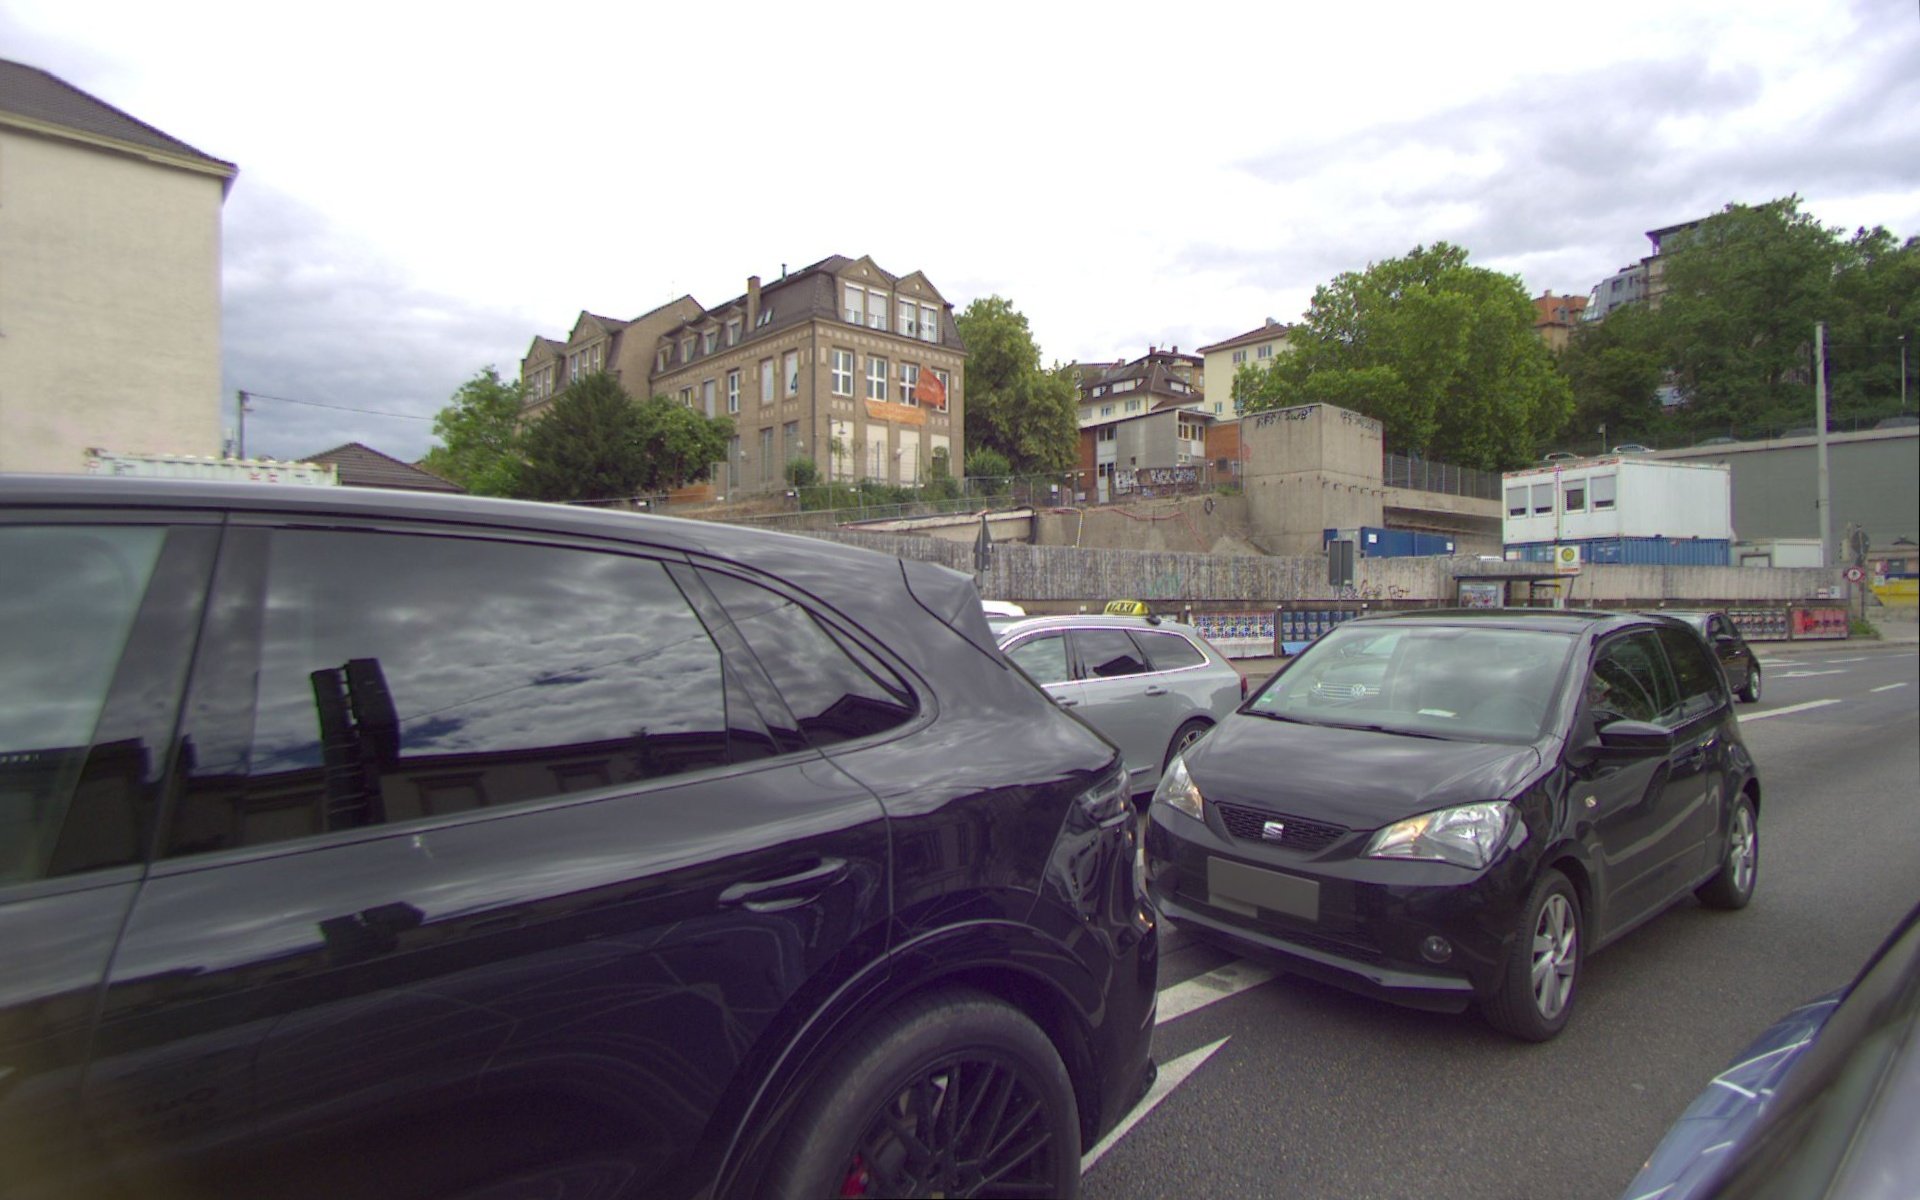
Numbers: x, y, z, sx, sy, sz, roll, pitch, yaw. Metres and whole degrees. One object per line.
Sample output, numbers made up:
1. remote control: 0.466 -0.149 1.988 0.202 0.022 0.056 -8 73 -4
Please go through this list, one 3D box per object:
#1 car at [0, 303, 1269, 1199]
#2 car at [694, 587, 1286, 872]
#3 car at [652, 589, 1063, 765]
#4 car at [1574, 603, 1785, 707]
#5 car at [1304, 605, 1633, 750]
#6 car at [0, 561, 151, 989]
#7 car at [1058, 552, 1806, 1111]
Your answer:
1. car: -1.661 0.554 1.668 4.497 1.689 1.998 -1 0 -39
2. car: 0.396 0.657 7.340 4.142 1.484 1.825 -1 0 -40
3. car: -0.943 0.633 10.604 4.004 1.484 1.824 -1 0 -42
4. car: 11.505 0.804 16.121 3.711 1.478 1.721 1 -2 -38
5. car: 6.020 0.769 11.806 4.139 1.381 1.827 1 0 -38
6. car: -5.066 0.635 3.458 3.581 1.529 1.826 -1 0 -39
7. car: 2.408 0.630 4.719 3.841 1.575 1.661 -1 0 -39
